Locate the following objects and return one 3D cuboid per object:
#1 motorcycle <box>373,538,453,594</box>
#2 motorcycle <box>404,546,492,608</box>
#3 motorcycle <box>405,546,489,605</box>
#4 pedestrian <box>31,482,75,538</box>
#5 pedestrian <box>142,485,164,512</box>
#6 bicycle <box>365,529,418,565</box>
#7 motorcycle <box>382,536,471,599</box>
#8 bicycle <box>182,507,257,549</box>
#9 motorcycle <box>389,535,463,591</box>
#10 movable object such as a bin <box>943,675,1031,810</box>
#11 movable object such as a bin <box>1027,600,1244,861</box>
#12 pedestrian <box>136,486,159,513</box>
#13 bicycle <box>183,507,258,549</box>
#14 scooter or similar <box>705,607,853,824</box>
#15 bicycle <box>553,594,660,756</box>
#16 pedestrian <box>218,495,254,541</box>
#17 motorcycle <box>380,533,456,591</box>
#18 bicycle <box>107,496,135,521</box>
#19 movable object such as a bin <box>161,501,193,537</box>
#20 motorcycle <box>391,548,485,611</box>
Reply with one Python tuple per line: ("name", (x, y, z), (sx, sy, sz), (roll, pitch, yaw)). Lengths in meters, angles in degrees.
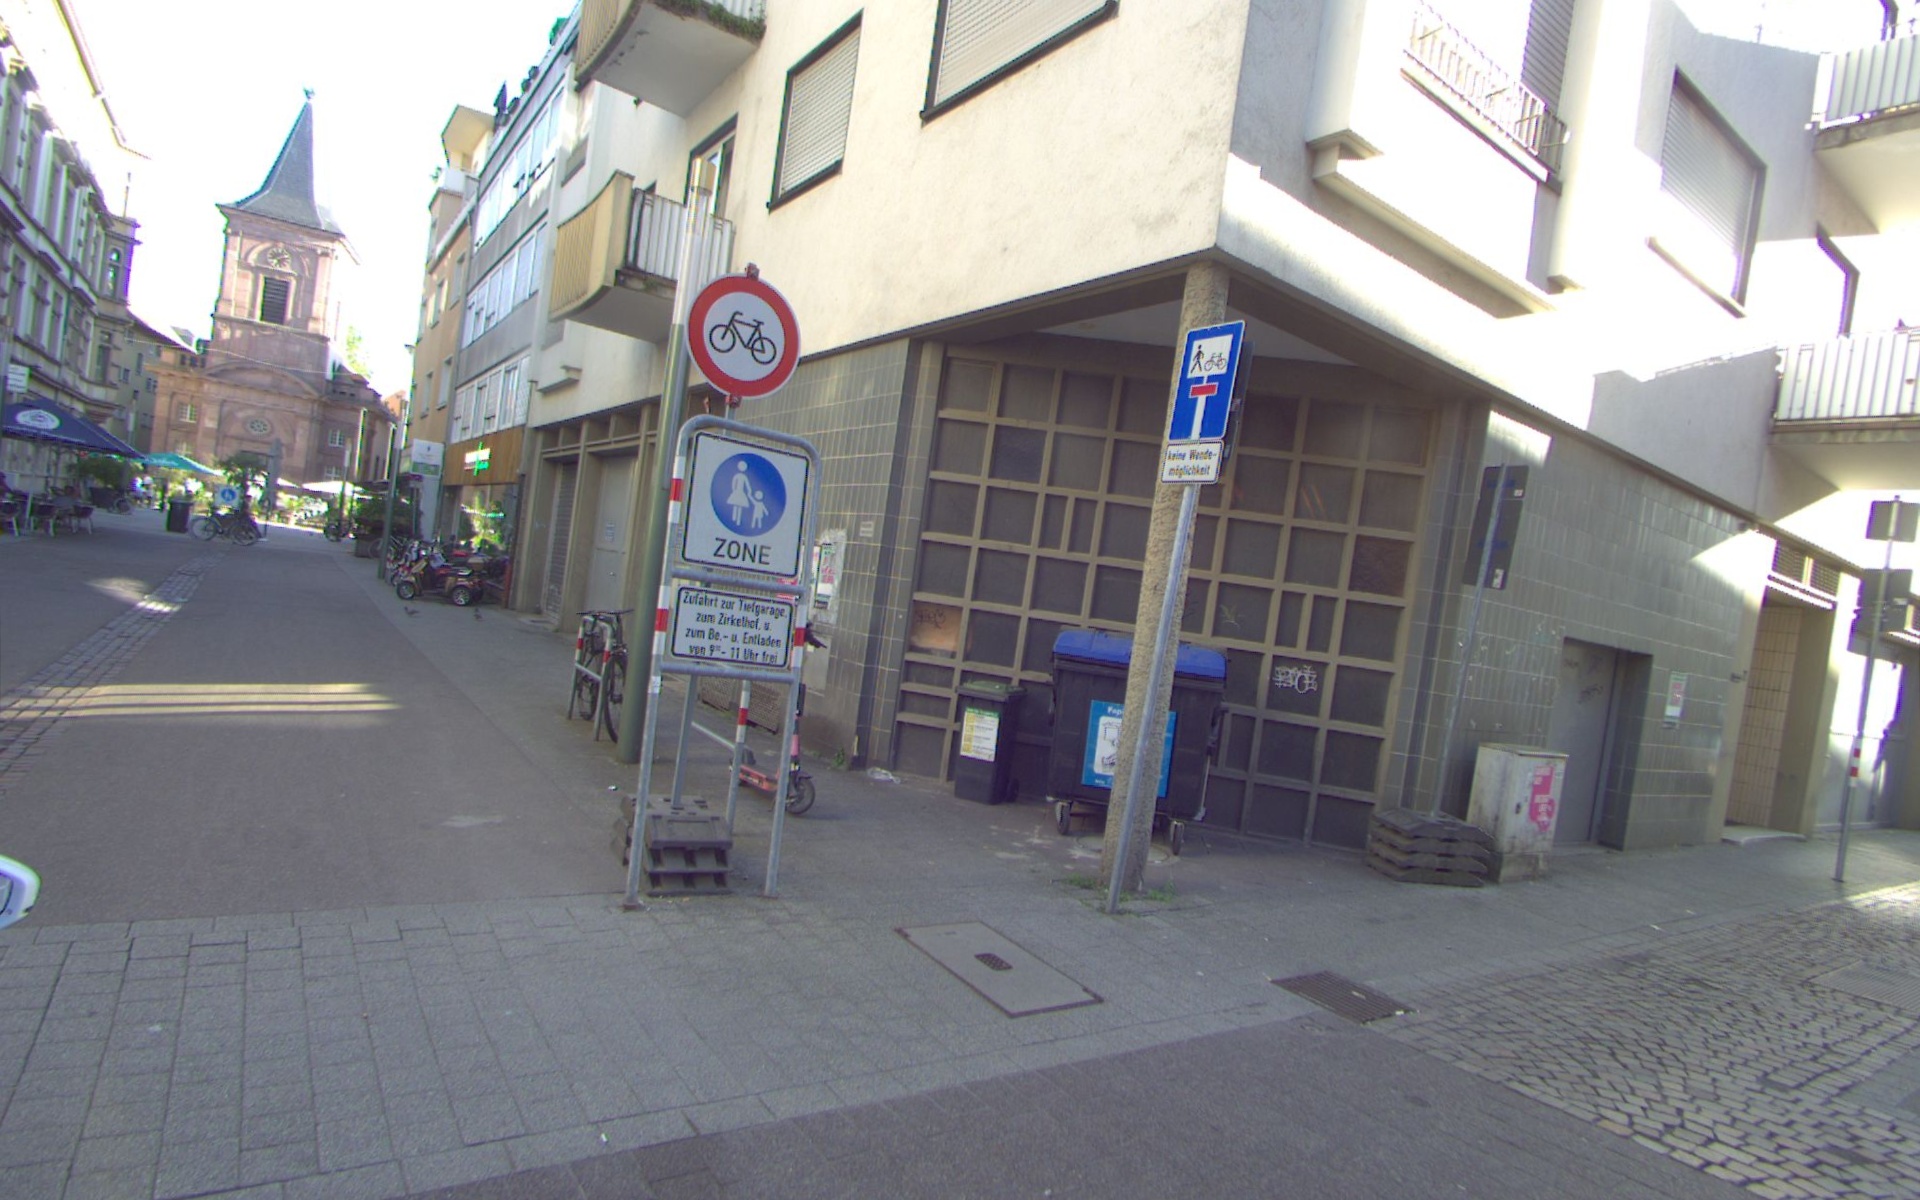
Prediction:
("motorcycle", (-12.677, -0.783, 23.343), (1.466, 1.089, 0.410), (7, 1, -17))
("motorcycle", (-10.680, -0.476, 21.021), (1.499, 1.089, 0.410), (7, 1, -17))
("motorcycle", (-11.163, -0.526, 21.921), (1.466, 1.089, 0.410), (7, 1, -17))
("pedestrian", (-21.964, -2.173, 24.360), (0.690, 1.230, 0.576), (7, 2, -43))
("pedestrian", (-41.905, -5.264, 52.240), (0.695, 1.233, 0.714), (7, 1, -29))
("bicycle", (-19.243, -1.799, 34.096), (1.452, 1.017, 0.569), (8, 1, -29))
("motorcycle", (-12.038, -0.735, 22.726), (1.606, 1.190, 0.478), (7, 1, -17))
("bicycle", (-23.270, -2.251, 31.641), (1.815, 1.017, 0.377), (8, 1, -39))
("motorcycle", (-13.324, -0.921, 25.127), (1.468, 1.196, 0.410), (7, 1, -20))
("movable object such as a bin", (0.222, 1.112, 7.991), (0.531, 0.935, 0.513), (8, 1, 8))
("movable object such as a bin", (1.292, 0.891, 7.496), (1.267, 1.610, 1.155), (8, 2, 10))
("pedestrian", (-41.200, -5.101, 51.015), (0.695, 1.233, 0.714), (7, 1, -29))
("bicycle", (-23.486, -2.280, 31.967), (1.815, 1.017, 0.377), (8, 1, -39))
("scooter or similar", (-1.270, 0.746, 6.897), (0.305, 1.268, 1.225), (7, 1, -38))
("bicycle", (-3.047, 0.588, 8.576), (0.443, 1.153, 1.697), (8, -1, -30))
("pedestrian", (-25.572, -2.883, 35.532), (0.878, 1.482, 0.724), (7, 1, -35))
("motorcycle", (-13.057, -0.911, 24.269), (1.468, 1.196, 0.410), (7, 1, -20))
("bicycle", (-32.944, -3.592, 39.530), (0.453, 0.860, 2.128), (7, 1, -31))
("movable object such as a bin", (-26.158, -2.714, 33.617), (0.717, 1.088, 0.370), (7, 2, -37))
("motorcycle", (-10.490, -0.403, 20.257), (1.546, 1.055, 0.371), (7, 1, -17))
